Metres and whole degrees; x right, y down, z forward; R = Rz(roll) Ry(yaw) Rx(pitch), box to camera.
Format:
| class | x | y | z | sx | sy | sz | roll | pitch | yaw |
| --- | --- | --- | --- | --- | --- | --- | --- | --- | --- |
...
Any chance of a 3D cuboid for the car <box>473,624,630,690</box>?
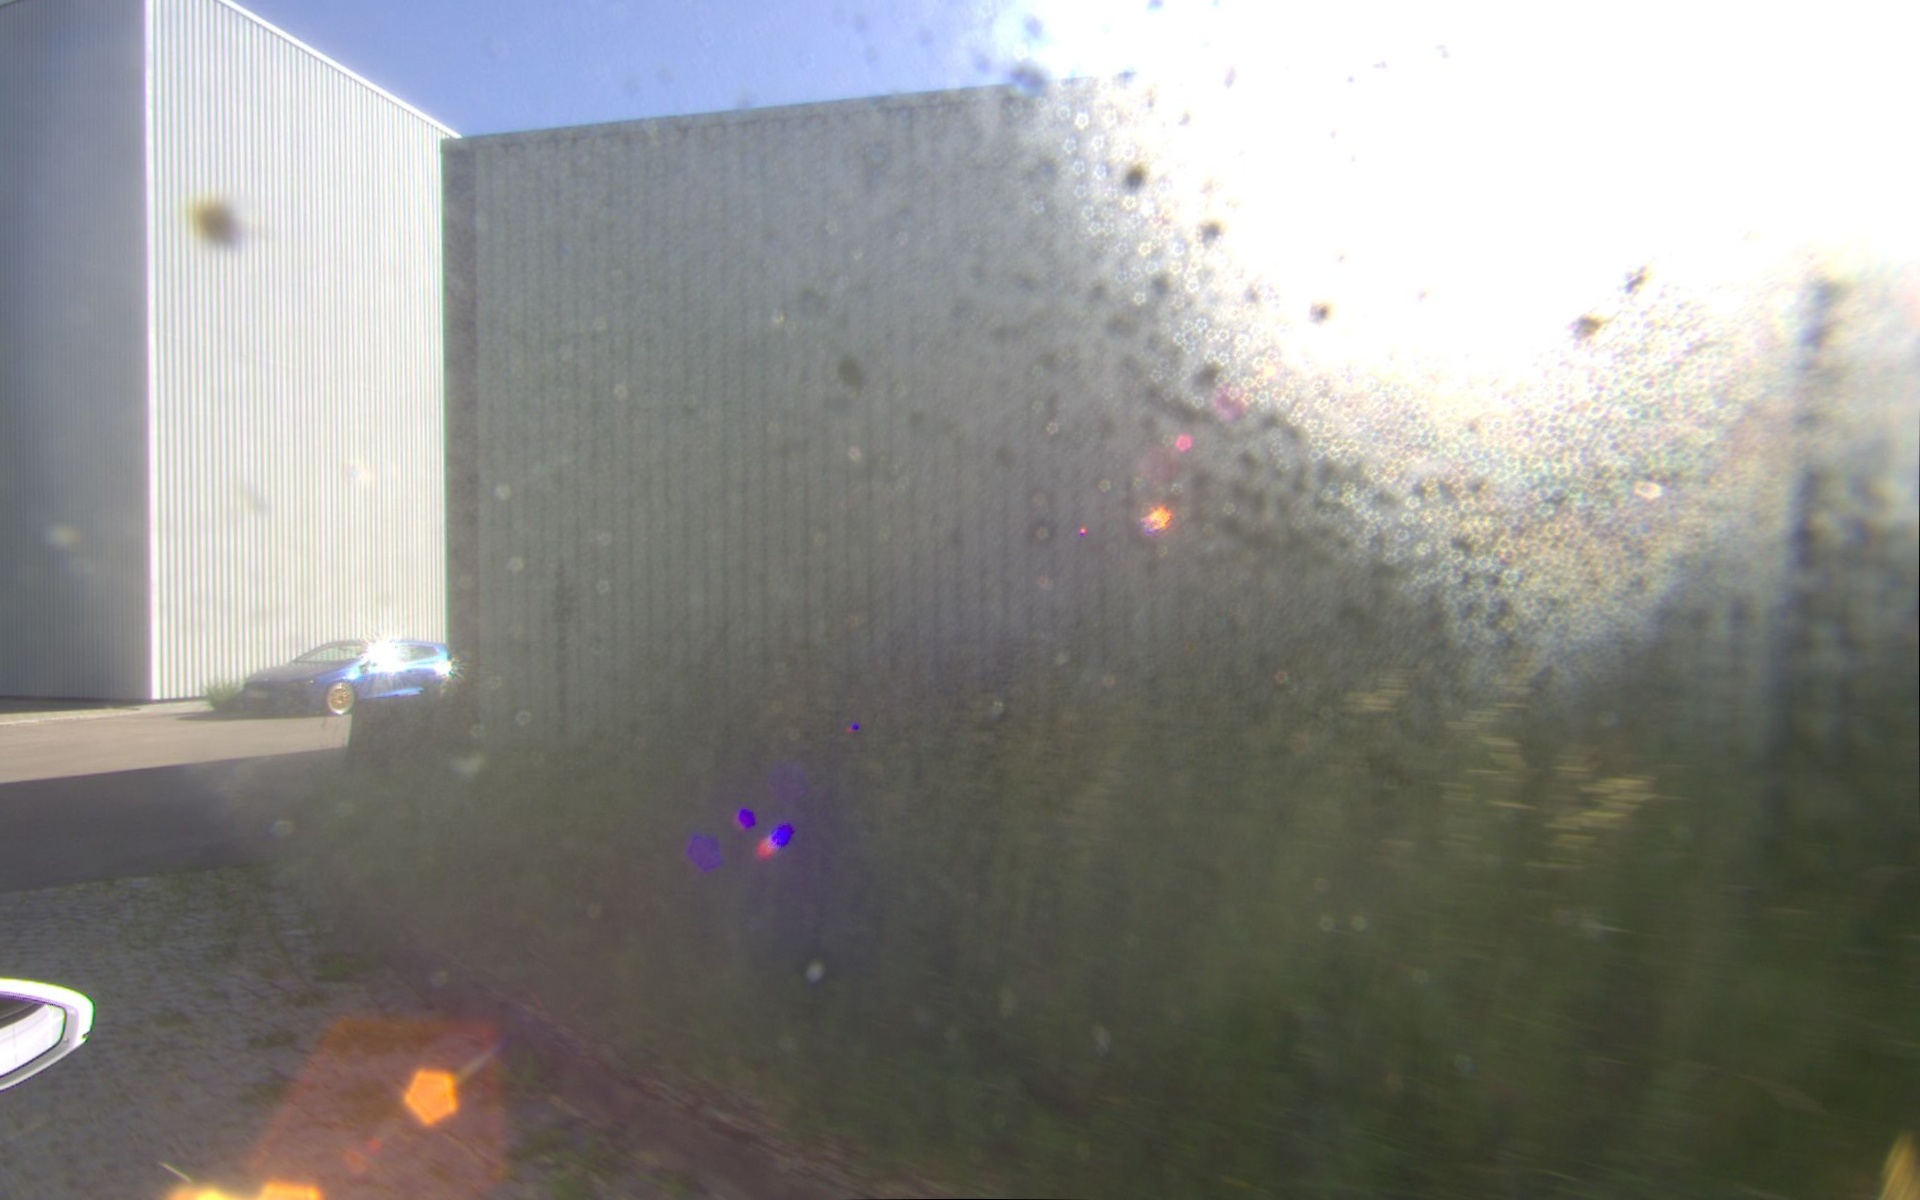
| class | x | y | z | sx | sy | sz | roll | pitch | yaw |
| --- | --- | --- | --- | --- | --- | --- | --- | --- | --- |
| car | -10.018 | 1.354 | 24.850 | 1.595 | 1.466 | 3.760 | 1 | -1 | 17 |

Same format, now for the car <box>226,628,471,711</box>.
| class | x | y | z | sx | sy | sz | roll | pitch | yaw |
| --- | --- | --- | --- | --- | --- | --- | --- | --- | --- |
| car | -11.692 | 1.263 | 19.465 | 1.644 | 1.367 | 3.948 | 1 | -1 | 18 |
